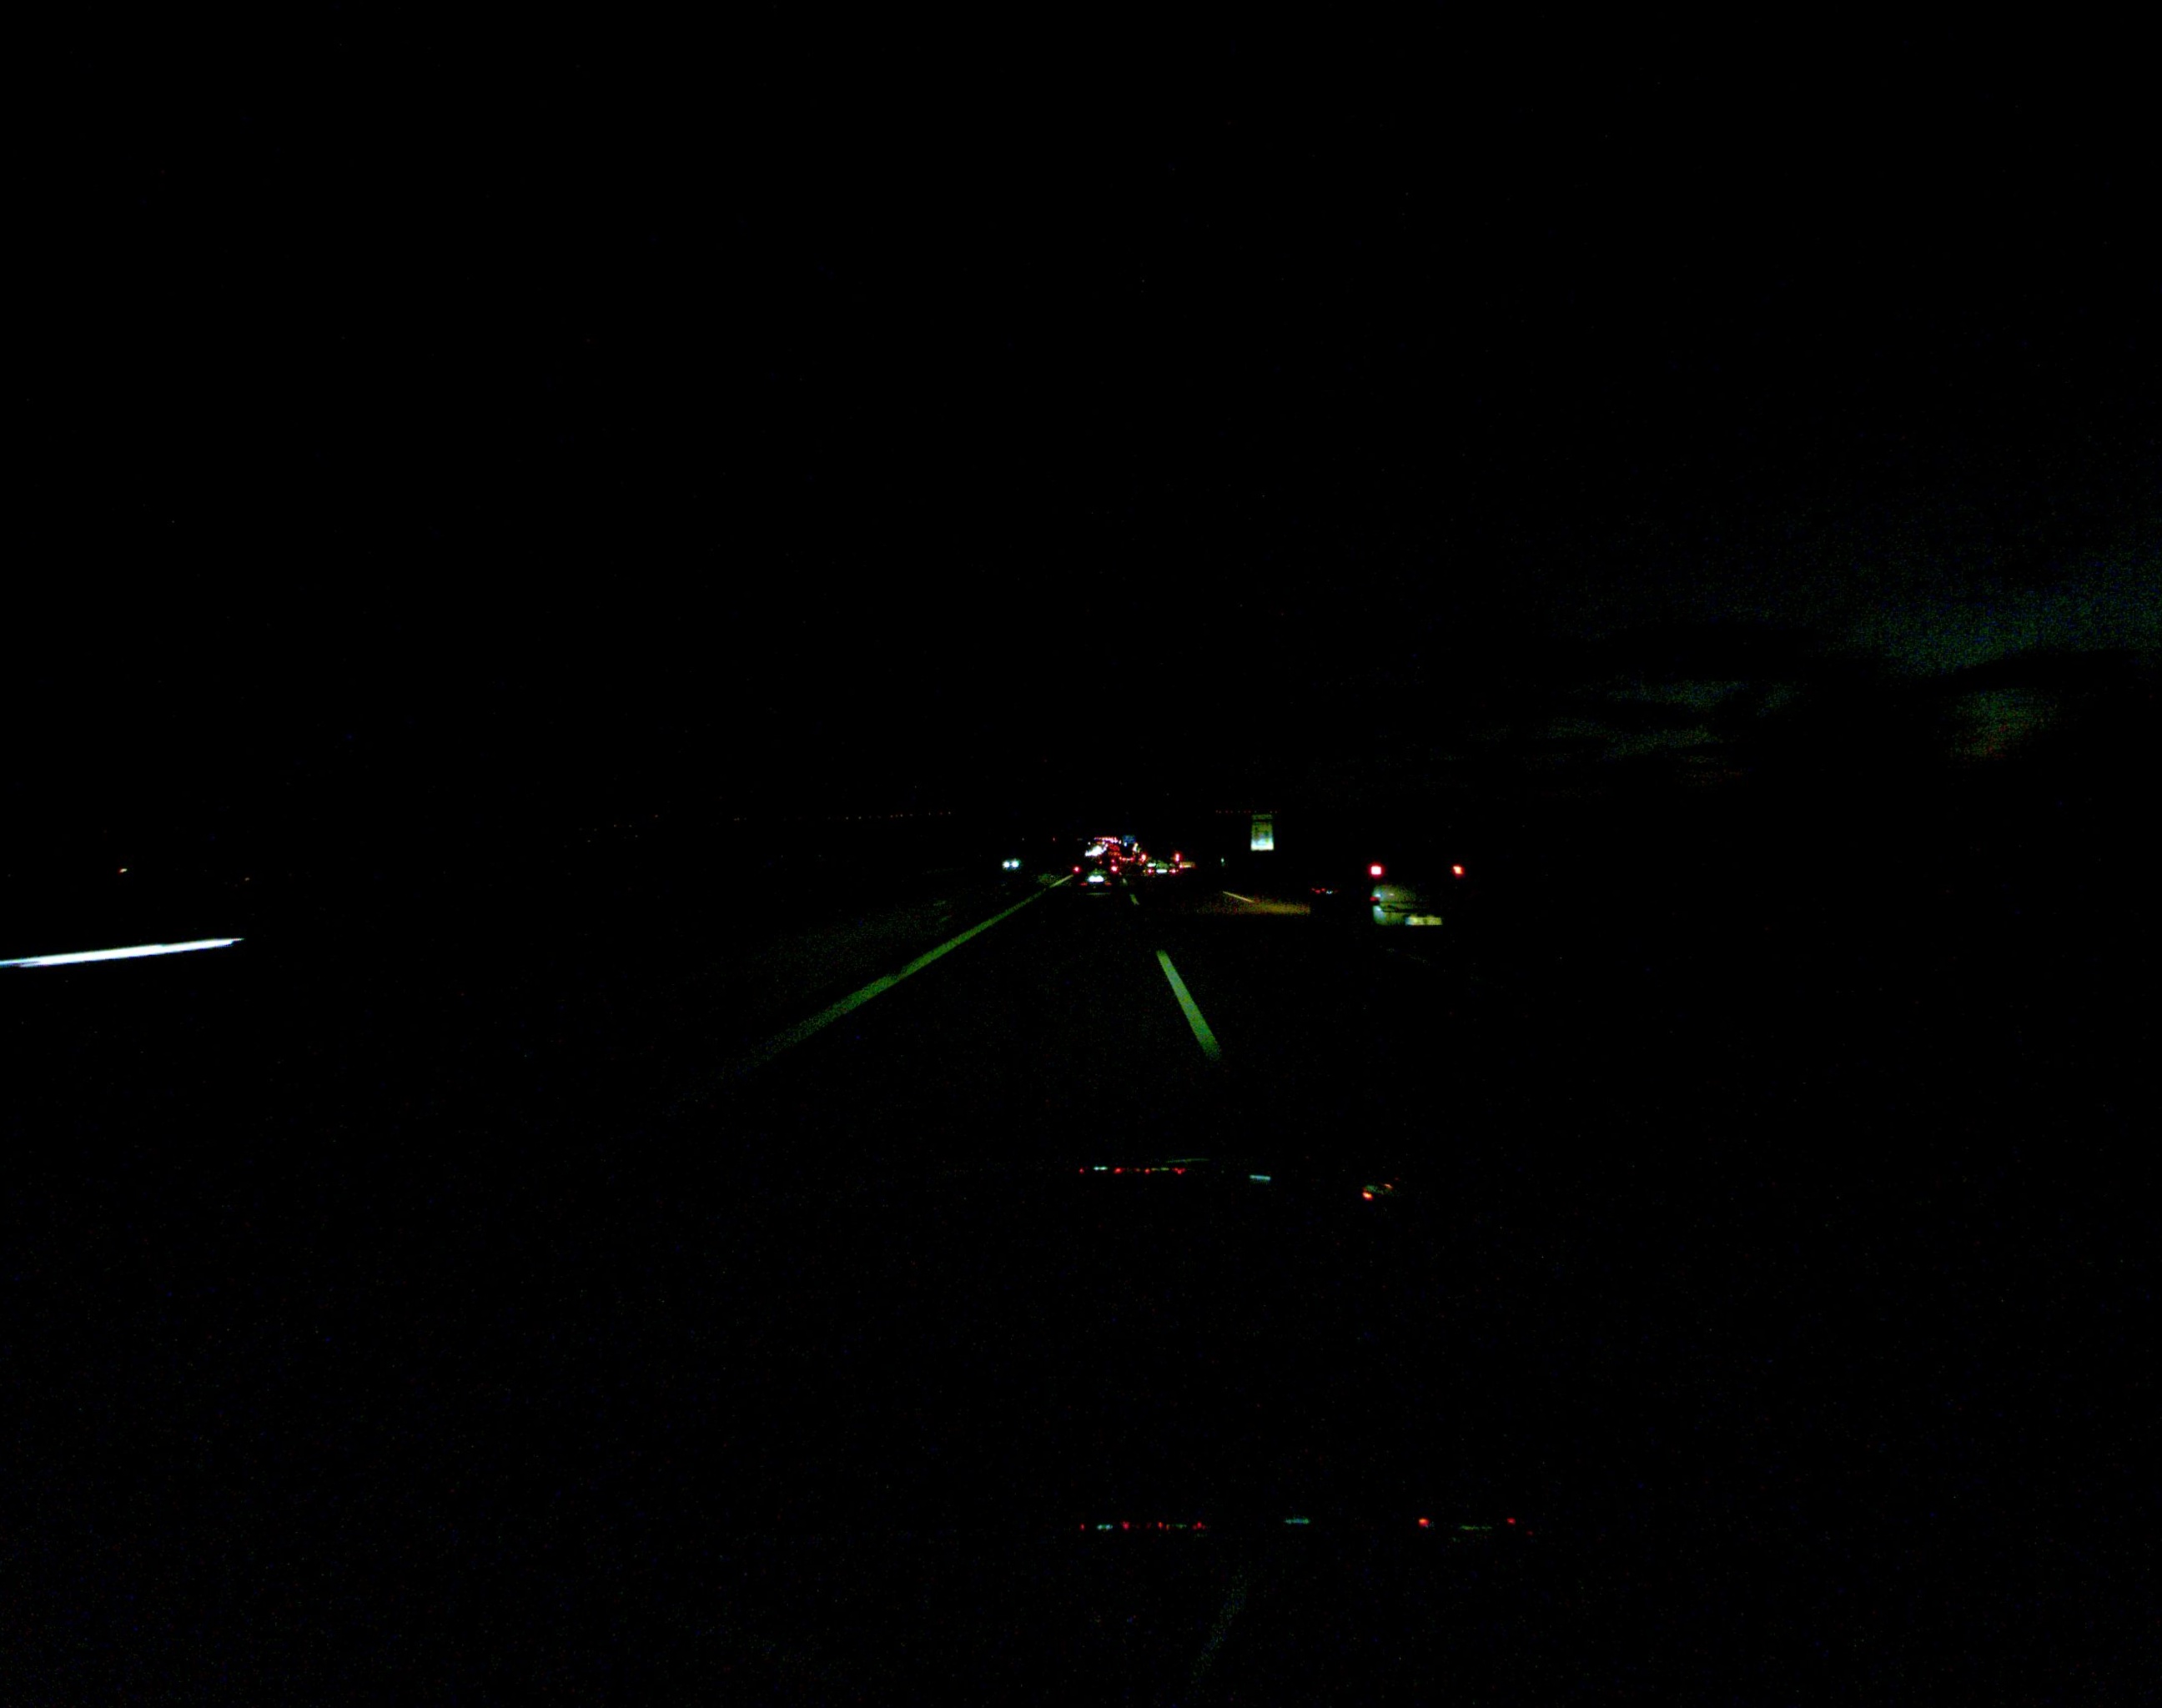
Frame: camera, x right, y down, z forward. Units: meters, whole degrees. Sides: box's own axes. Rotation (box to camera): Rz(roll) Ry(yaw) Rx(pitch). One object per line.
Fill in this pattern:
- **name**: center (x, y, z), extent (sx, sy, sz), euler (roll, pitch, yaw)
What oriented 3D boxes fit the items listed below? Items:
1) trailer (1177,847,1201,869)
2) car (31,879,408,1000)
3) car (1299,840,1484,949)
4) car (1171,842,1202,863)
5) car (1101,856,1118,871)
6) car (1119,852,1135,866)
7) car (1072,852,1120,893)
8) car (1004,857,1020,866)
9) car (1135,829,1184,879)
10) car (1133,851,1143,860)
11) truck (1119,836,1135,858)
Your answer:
- **trailer**: center (8.548, 0.307, 64.404), extent (1.560, 1.693, 2.822), euler (-2, 0, 2)
- **car**: center (-16.259, 1.492, 15.885), extent (2.037, 1.720, 4.778), euler (-4, 0, 2)
- **car**: center (5.236, 0.597, 14.423), extent (1.640, 1.596, 4.511), euler (-1, 0, 1)
- **car**: center (8.781, -0.130, 68.087), extent (2.154, 1.563, 4.726), euler (-2, 0, 2)
- **car**: center (3.163, 1.004, 89.796), extent (1.738, 1.440, 4.370), euler (-2, 0, 2)
- **car**: center (6.916, 0.754, 123.036), extent (2.342, 1.914, 4.726), euler (-2, 0, 2)
- **car**: center (0.641, 0.693, 32.806), extent (1.786, 1.469, 3.775), euler (-1, 0, 2)
- **car**: center (-11.700, 1.287, 138.345), extent (1.987, 1.419, 4.983), euler (-4, 0, 0)
- **car**: center (4.336, -0.003, 45.717), extent (2.342, 2.535, 5.705), euler (-2, 0, 2)
- **car**: center (14.114, 0.295, 201.004), extent (2.342, 2.075, 4.726), euler (-2, 0, 2)
- **truck**: center (8.905, -1.328, 158.860), extent (2.771, 3.955, 7.994), euler (-2, 0, 1)
